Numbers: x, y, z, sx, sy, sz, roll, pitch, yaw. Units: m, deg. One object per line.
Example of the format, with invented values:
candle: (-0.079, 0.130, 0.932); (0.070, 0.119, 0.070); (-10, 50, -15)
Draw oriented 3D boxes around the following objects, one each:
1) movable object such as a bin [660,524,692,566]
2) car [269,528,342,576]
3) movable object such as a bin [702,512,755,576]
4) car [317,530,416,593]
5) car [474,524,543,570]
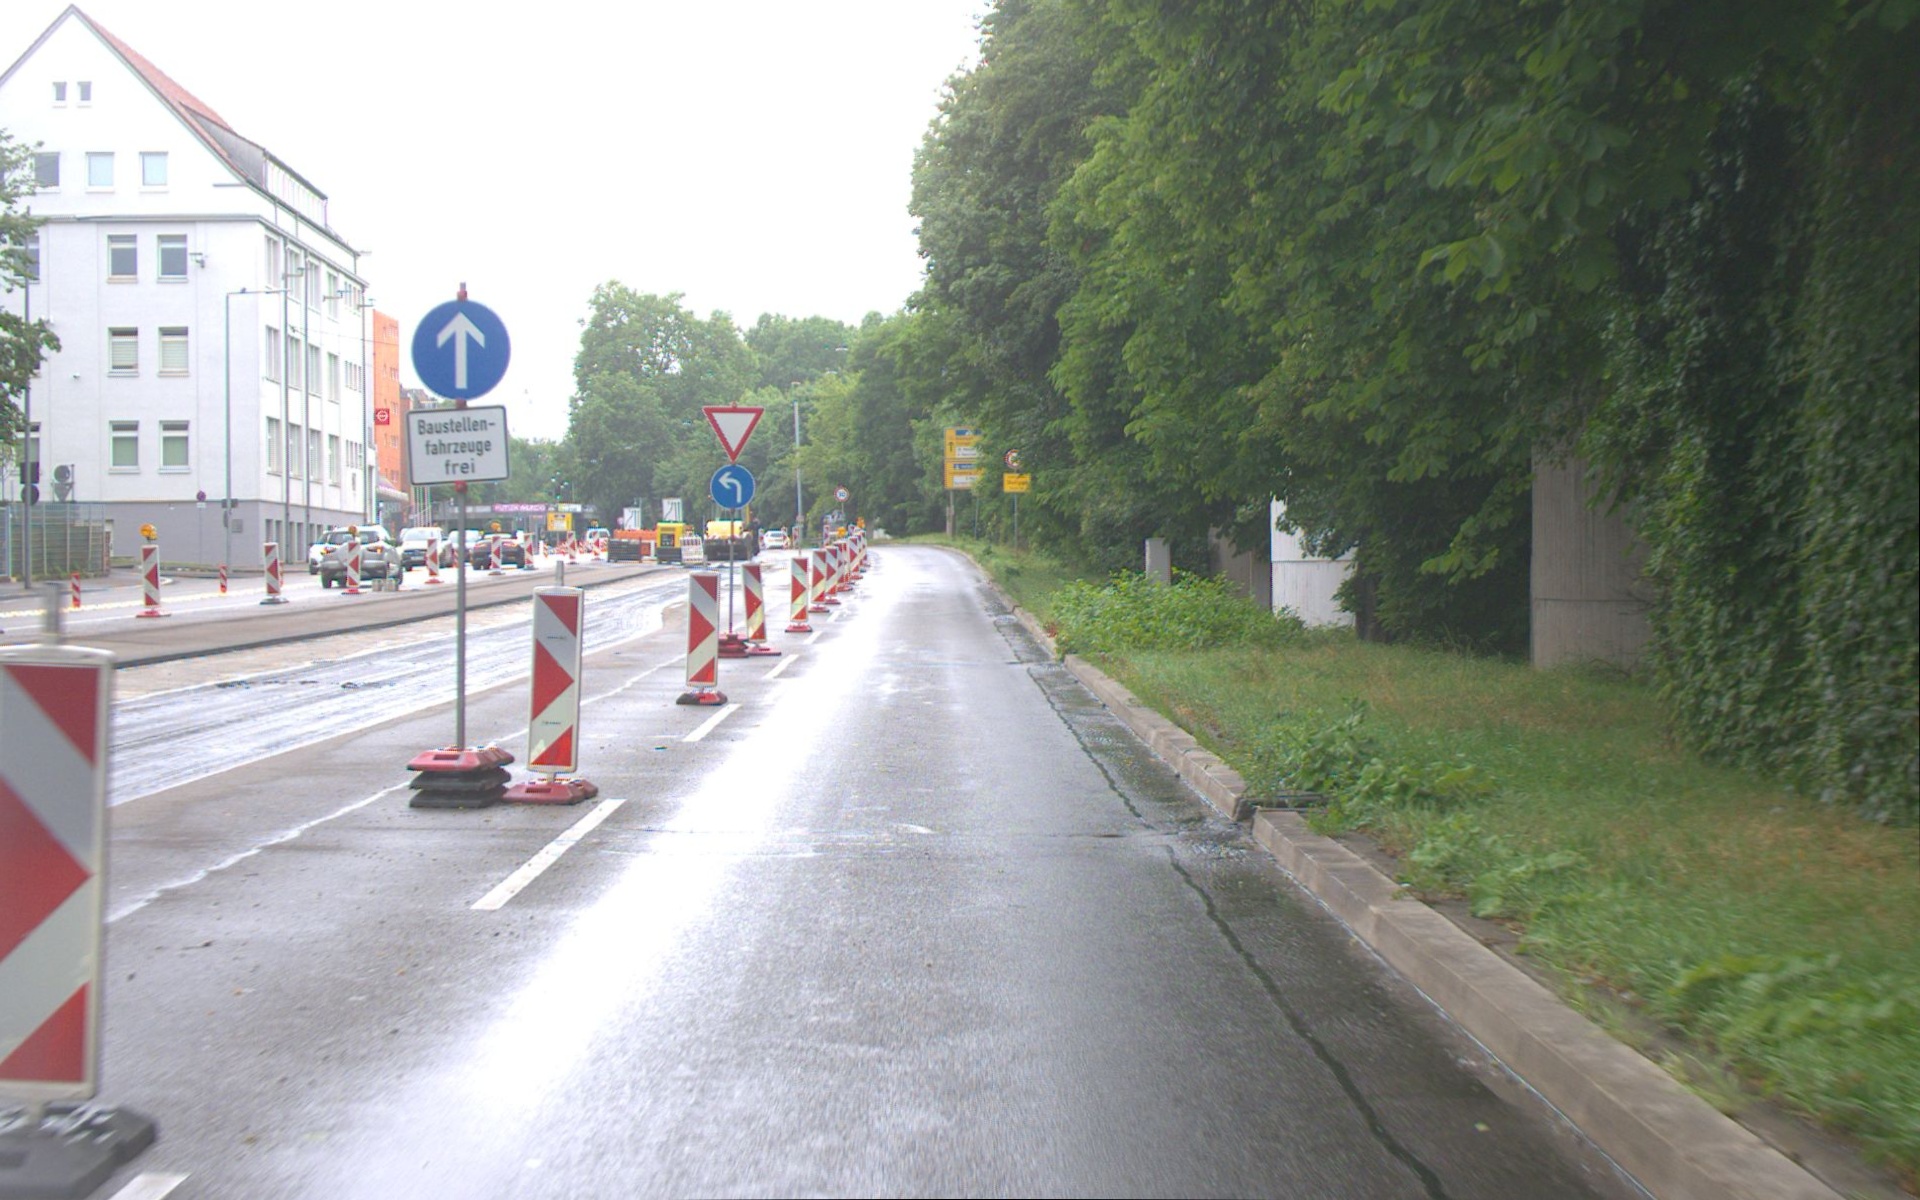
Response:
movable object such as a bin: (-11.320, -2.205, 137.094); (1.083, 1.639, 2.439); (-1, 1, -1)
car: (-24.635, -1.820, 129.429); (1.859, 1.700, 4.365); (-3, 1, 0)
movable object such as a bin: (-9.783, -2.381, 145.605); (1.902, 2.600, 5.383); (-1, 2, -1)
car: (-15.910, -1.058, 92.341); (1.893, 1.644, 4.396); (0, 1, 0)
car: (-16.357, -1.922, 124.688); (1.893, 1.644, 4.396); (0, 1, 0)
